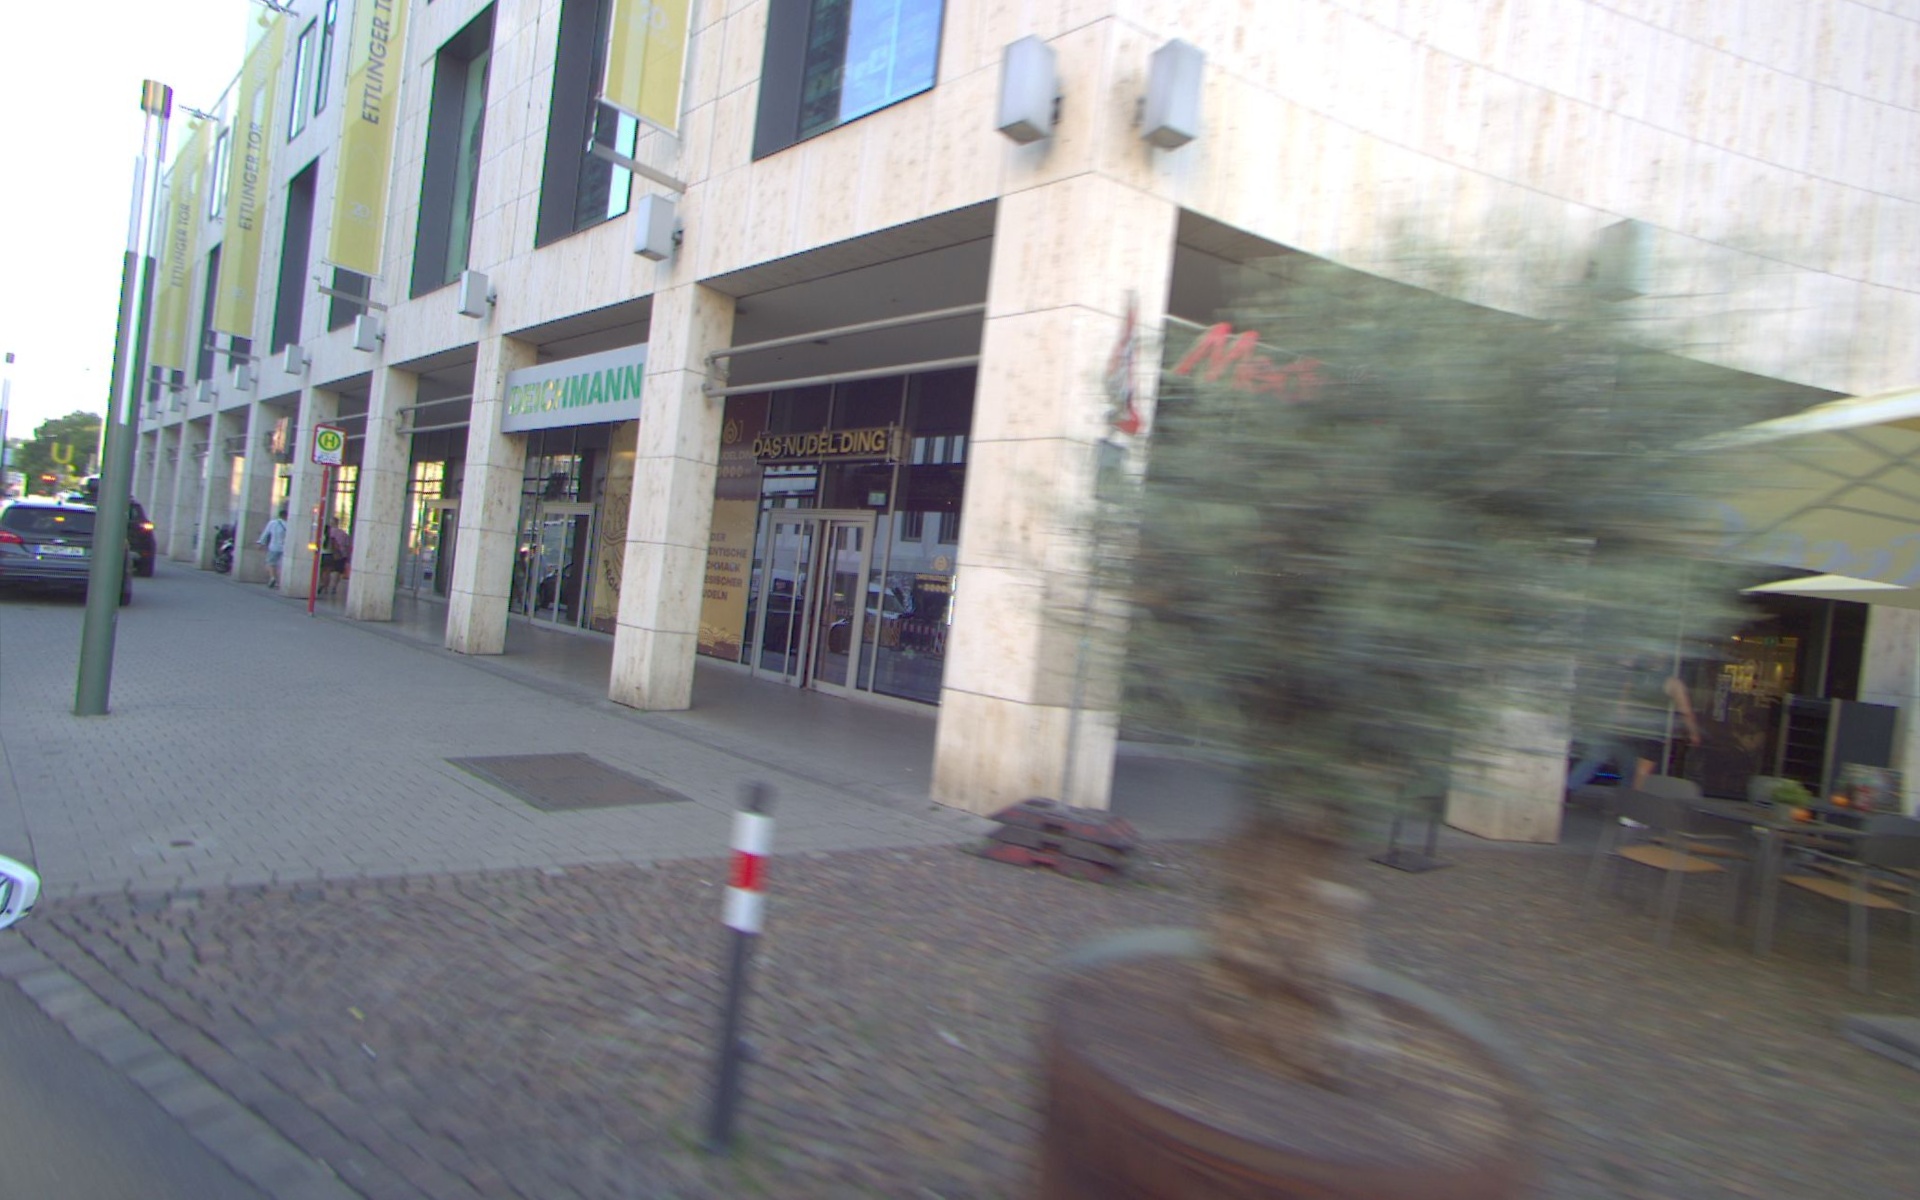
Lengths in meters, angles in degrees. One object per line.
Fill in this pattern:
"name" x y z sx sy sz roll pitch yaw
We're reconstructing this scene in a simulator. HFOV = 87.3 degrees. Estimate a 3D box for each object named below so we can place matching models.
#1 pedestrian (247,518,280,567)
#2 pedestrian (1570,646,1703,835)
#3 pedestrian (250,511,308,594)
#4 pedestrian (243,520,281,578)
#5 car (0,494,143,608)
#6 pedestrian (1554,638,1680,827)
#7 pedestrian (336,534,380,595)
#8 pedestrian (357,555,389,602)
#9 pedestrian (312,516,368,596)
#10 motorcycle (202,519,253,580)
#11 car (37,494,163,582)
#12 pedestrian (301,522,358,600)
"pedestrian" -23.548 -1.942 34.020 0.765 1.561 0.632 7 0 43
"pedestrian" 6.807 1.404 10.145 0.709 1.767 0.666 7 0 -23
"pedestrian" -15.314 -1.071 22.626 0.865 1.702 0.763 9 2 43
"pedestrian" -20.601 -1.508 29.699 0.764 1.587 0.632 9 2 43
"car" -14.193 -0.832 15.681 4.138 1.510 1.789 6 2 44
"pedestrian" 7.007 1.401 10.750 0.709 1.885 0.666 7 0 -23
"pedestrian" -14.763 -0.872 24.665 0.764 1.363 0.632 9 2 43
"pedestrian" -13.792 -0.507 23.634 0.519 0.998 0.419 9 2 43
"pedestrian" -14.461 -1.030 23.455 0.865 1.702 0.763 9 2 43
"motorcycle" -19.117 -1.333 26.252 0.690 1.434 2.109 7 0 -44
"car" -19.115 -1.401 22.295 4.004 1.660 1.762 6 3 44
"pedestrian" -14.203 -0.881 22.666 0.865 1.587 0.763 9 2 43
